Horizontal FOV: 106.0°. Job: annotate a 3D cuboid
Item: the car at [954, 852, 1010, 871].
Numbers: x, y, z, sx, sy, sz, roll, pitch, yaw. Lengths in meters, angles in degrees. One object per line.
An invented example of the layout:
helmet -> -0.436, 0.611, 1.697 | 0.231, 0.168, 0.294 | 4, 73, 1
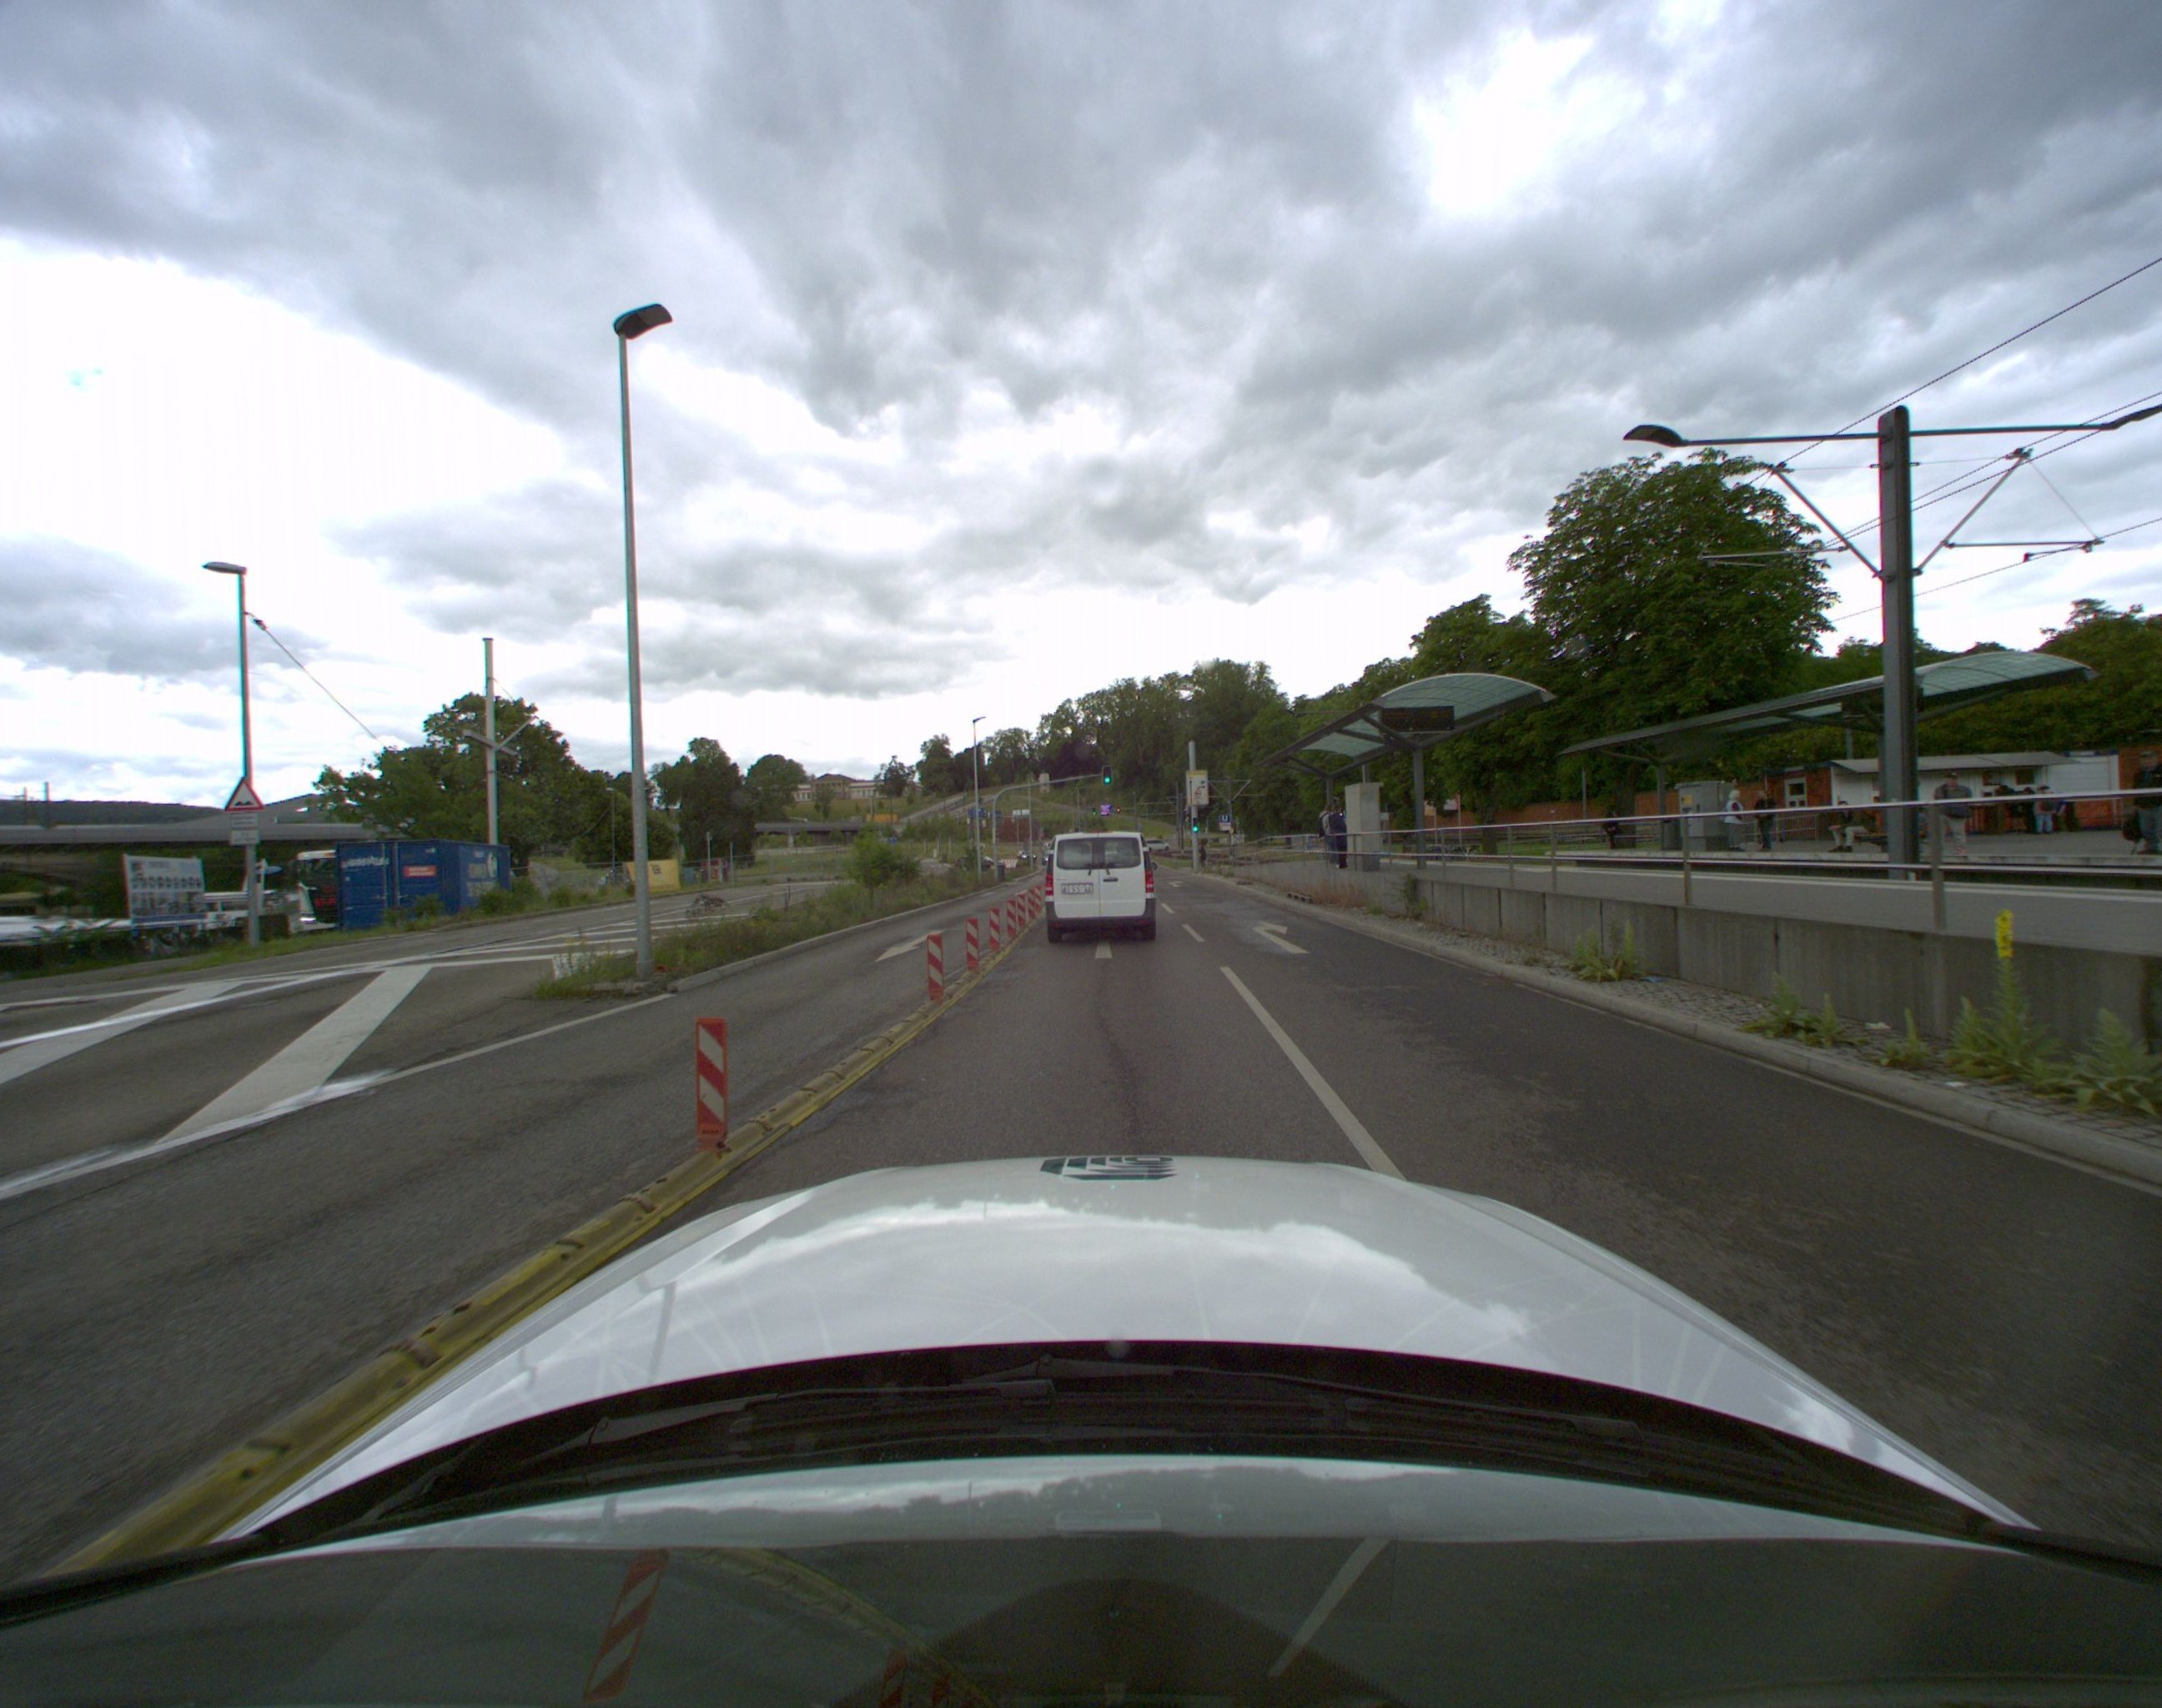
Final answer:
car -> -9.192, 0.715, 75.516 | 4.678, 1.477, 2.007 | -3, 1, 11

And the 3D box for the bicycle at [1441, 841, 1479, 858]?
bicycle -> 21.336, -0.252, 45.884 | 1.866, 0.963, 0.533 | 0, 0, 1

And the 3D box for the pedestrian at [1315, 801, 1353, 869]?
pedestrian -> 6.387, -0.492, 20.602 | 0.767, 1.699, 0.732 | 0, 2, 3

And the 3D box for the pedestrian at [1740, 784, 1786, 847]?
pedestrian -> 18.568, -1.029, 22.184 | 0.671, 1.677, 0.676 | 0, 0, -2

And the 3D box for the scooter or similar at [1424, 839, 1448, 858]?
scooter or similar -> 21.375, -0.343, 49.025 | 1.267, 1.139, 0.334 | 0, 0, 8

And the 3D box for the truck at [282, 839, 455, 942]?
truck -> -27.527, 1.255, 32.019 | 2.807, 3.335, 8.406 | -4, 2, -26

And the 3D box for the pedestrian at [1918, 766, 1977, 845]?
pedestrian -> 18.026, -0.990, 16.953 | 0.522, 1.620, 0.676 | 0, 0, 3

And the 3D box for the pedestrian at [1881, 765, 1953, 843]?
pedestrian -> 18.593, -1.094, 18.121 | 0.859, 1.677, 0.759 | 0, 0, -9

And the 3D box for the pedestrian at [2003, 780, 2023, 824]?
pedestrian -> 31.936, -1.791, 27.912 | 0.340, 1.487, 0.316 | 0, 0, 4

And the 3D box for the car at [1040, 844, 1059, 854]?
car -> -5.682, -0.932, 146.297 | 1.947, 1.627, 3.966 | -2, 1, -26

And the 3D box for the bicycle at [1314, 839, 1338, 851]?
bicycle -> 22.038, -0.787, 73.238 | 1.905, 0.975, 0.531 | -3, 0, 1

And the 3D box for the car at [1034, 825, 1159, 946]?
car -> 0.456, 0.491, 15.190 | 1.949, 1.903, 4.468 | -1, 0, 6

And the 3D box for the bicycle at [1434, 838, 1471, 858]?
bicycle -> 21.292, -0.333, 46.721 | 1.866, 1.139, 0.533 | 0, 0, 1

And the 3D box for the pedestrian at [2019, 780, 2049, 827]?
pedestrian -> 31.709, -1.683, 27.099 | 0.483, 1.535, 0.460 | 0, 0, 4

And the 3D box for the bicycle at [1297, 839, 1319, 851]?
bicycle -> 21.883, -0.863, 78.545 | 1.905, 0.975, 0.531 | -3, 0, 1

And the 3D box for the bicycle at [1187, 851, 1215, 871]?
bicycle -> 7.134, 0.392, 48.262 | 1.692, 1.074, 0.613 | -3, 2, -38

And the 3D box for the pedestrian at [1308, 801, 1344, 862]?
pedestrian -> 6.414, -0.590, 21.373 | 0.747, 1.553, 0.775 | 0, 2, 3

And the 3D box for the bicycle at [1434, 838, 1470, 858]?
bicycle -> 21.715, -0.346, 47.661 | 1.866, 1.139, 0.533 | 0, 0, 1

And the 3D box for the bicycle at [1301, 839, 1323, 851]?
bicycle -> 22.029, -0.872, 77.815 | 1.905, 0.975, 0.531 | -3, 0, 1

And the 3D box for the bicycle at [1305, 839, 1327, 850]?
bicycle -> 22.195, -0.879, 76.996 | 1.905, 0.975, 0.531 | -3, 0, 1

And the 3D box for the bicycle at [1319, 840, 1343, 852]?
bicycle -> 22.007, -0.729, 71.651 | 1.905, 0.975, 0.531 | -3, 0, 1

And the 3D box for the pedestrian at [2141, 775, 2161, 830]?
pedestrian -> 31.758, -1.512, 23.865 | 0.655, 1.583, 0.620 | 0, 0, -12

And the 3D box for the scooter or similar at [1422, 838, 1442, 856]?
scooter or similar -> 22.042, -0.449, 51.175 | 1.152, 1.139, 0.335 | 0, 0, 25

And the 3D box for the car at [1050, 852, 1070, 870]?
car -> -1.886, 0.605, 74.303 | 1.585, 1.517, 4.085 | -3, 0, 1

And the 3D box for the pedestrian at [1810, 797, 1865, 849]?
pedestrian -> 17.480, -0.701, 18.828 | 0.654, 1.191, 0.676 | 0, 0, 3

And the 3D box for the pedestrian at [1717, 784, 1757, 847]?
pedestrian -> 17.866, -1.034, 22.174 | 0.542, 1.677, 0.675 | 0, 0, -2

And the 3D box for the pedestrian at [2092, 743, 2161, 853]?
pedestrian -> 18.462, -0.946, 14.150 | 0.630, 1.838, 0.951 | 0, 0, 3

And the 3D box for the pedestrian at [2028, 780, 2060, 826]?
pedestrian -> 31.450, -1.656, 26.600 | 0.483, 1.487, 0.460 | 0, 0, 4

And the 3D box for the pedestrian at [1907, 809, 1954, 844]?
pedestrian -> 18.393, -0.600, 17.635 | 0.558, 0.740, 0.426 | 0, 0, 10

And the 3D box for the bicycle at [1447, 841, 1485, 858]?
bicycle -> 21.334, -0.239, 45.157 | 1.866, 0.963, 0.533 | 0, 0, 1

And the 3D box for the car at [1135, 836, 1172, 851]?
car -> 10.616, -1.575, 119.020 | 5.173, 2.013, 2.184 | -2, 0, -35

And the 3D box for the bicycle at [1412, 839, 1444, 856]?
bicycle -> 21.311, -0.371, 50.029 | 1.757, 1.033, 0.484 | 0, 0, 1

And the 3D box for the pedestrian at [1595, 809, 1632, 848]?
pedestrian -> 18.255, -0.864, 27.928 | 0.671, 1.323, 0.968 | 0, 0, 0

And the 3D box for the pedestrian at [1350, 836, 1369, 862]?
pedestrian -> 17.934, -0.318, 52.437 | 0.835, 1.609, 0.773 | -3, 0, -21

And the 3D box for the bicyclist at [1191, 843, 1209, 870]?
bicyclist -> 7.041, 0.127, 48.187 | 0.810, 1.572, 0.611 | -3, 2, -38
